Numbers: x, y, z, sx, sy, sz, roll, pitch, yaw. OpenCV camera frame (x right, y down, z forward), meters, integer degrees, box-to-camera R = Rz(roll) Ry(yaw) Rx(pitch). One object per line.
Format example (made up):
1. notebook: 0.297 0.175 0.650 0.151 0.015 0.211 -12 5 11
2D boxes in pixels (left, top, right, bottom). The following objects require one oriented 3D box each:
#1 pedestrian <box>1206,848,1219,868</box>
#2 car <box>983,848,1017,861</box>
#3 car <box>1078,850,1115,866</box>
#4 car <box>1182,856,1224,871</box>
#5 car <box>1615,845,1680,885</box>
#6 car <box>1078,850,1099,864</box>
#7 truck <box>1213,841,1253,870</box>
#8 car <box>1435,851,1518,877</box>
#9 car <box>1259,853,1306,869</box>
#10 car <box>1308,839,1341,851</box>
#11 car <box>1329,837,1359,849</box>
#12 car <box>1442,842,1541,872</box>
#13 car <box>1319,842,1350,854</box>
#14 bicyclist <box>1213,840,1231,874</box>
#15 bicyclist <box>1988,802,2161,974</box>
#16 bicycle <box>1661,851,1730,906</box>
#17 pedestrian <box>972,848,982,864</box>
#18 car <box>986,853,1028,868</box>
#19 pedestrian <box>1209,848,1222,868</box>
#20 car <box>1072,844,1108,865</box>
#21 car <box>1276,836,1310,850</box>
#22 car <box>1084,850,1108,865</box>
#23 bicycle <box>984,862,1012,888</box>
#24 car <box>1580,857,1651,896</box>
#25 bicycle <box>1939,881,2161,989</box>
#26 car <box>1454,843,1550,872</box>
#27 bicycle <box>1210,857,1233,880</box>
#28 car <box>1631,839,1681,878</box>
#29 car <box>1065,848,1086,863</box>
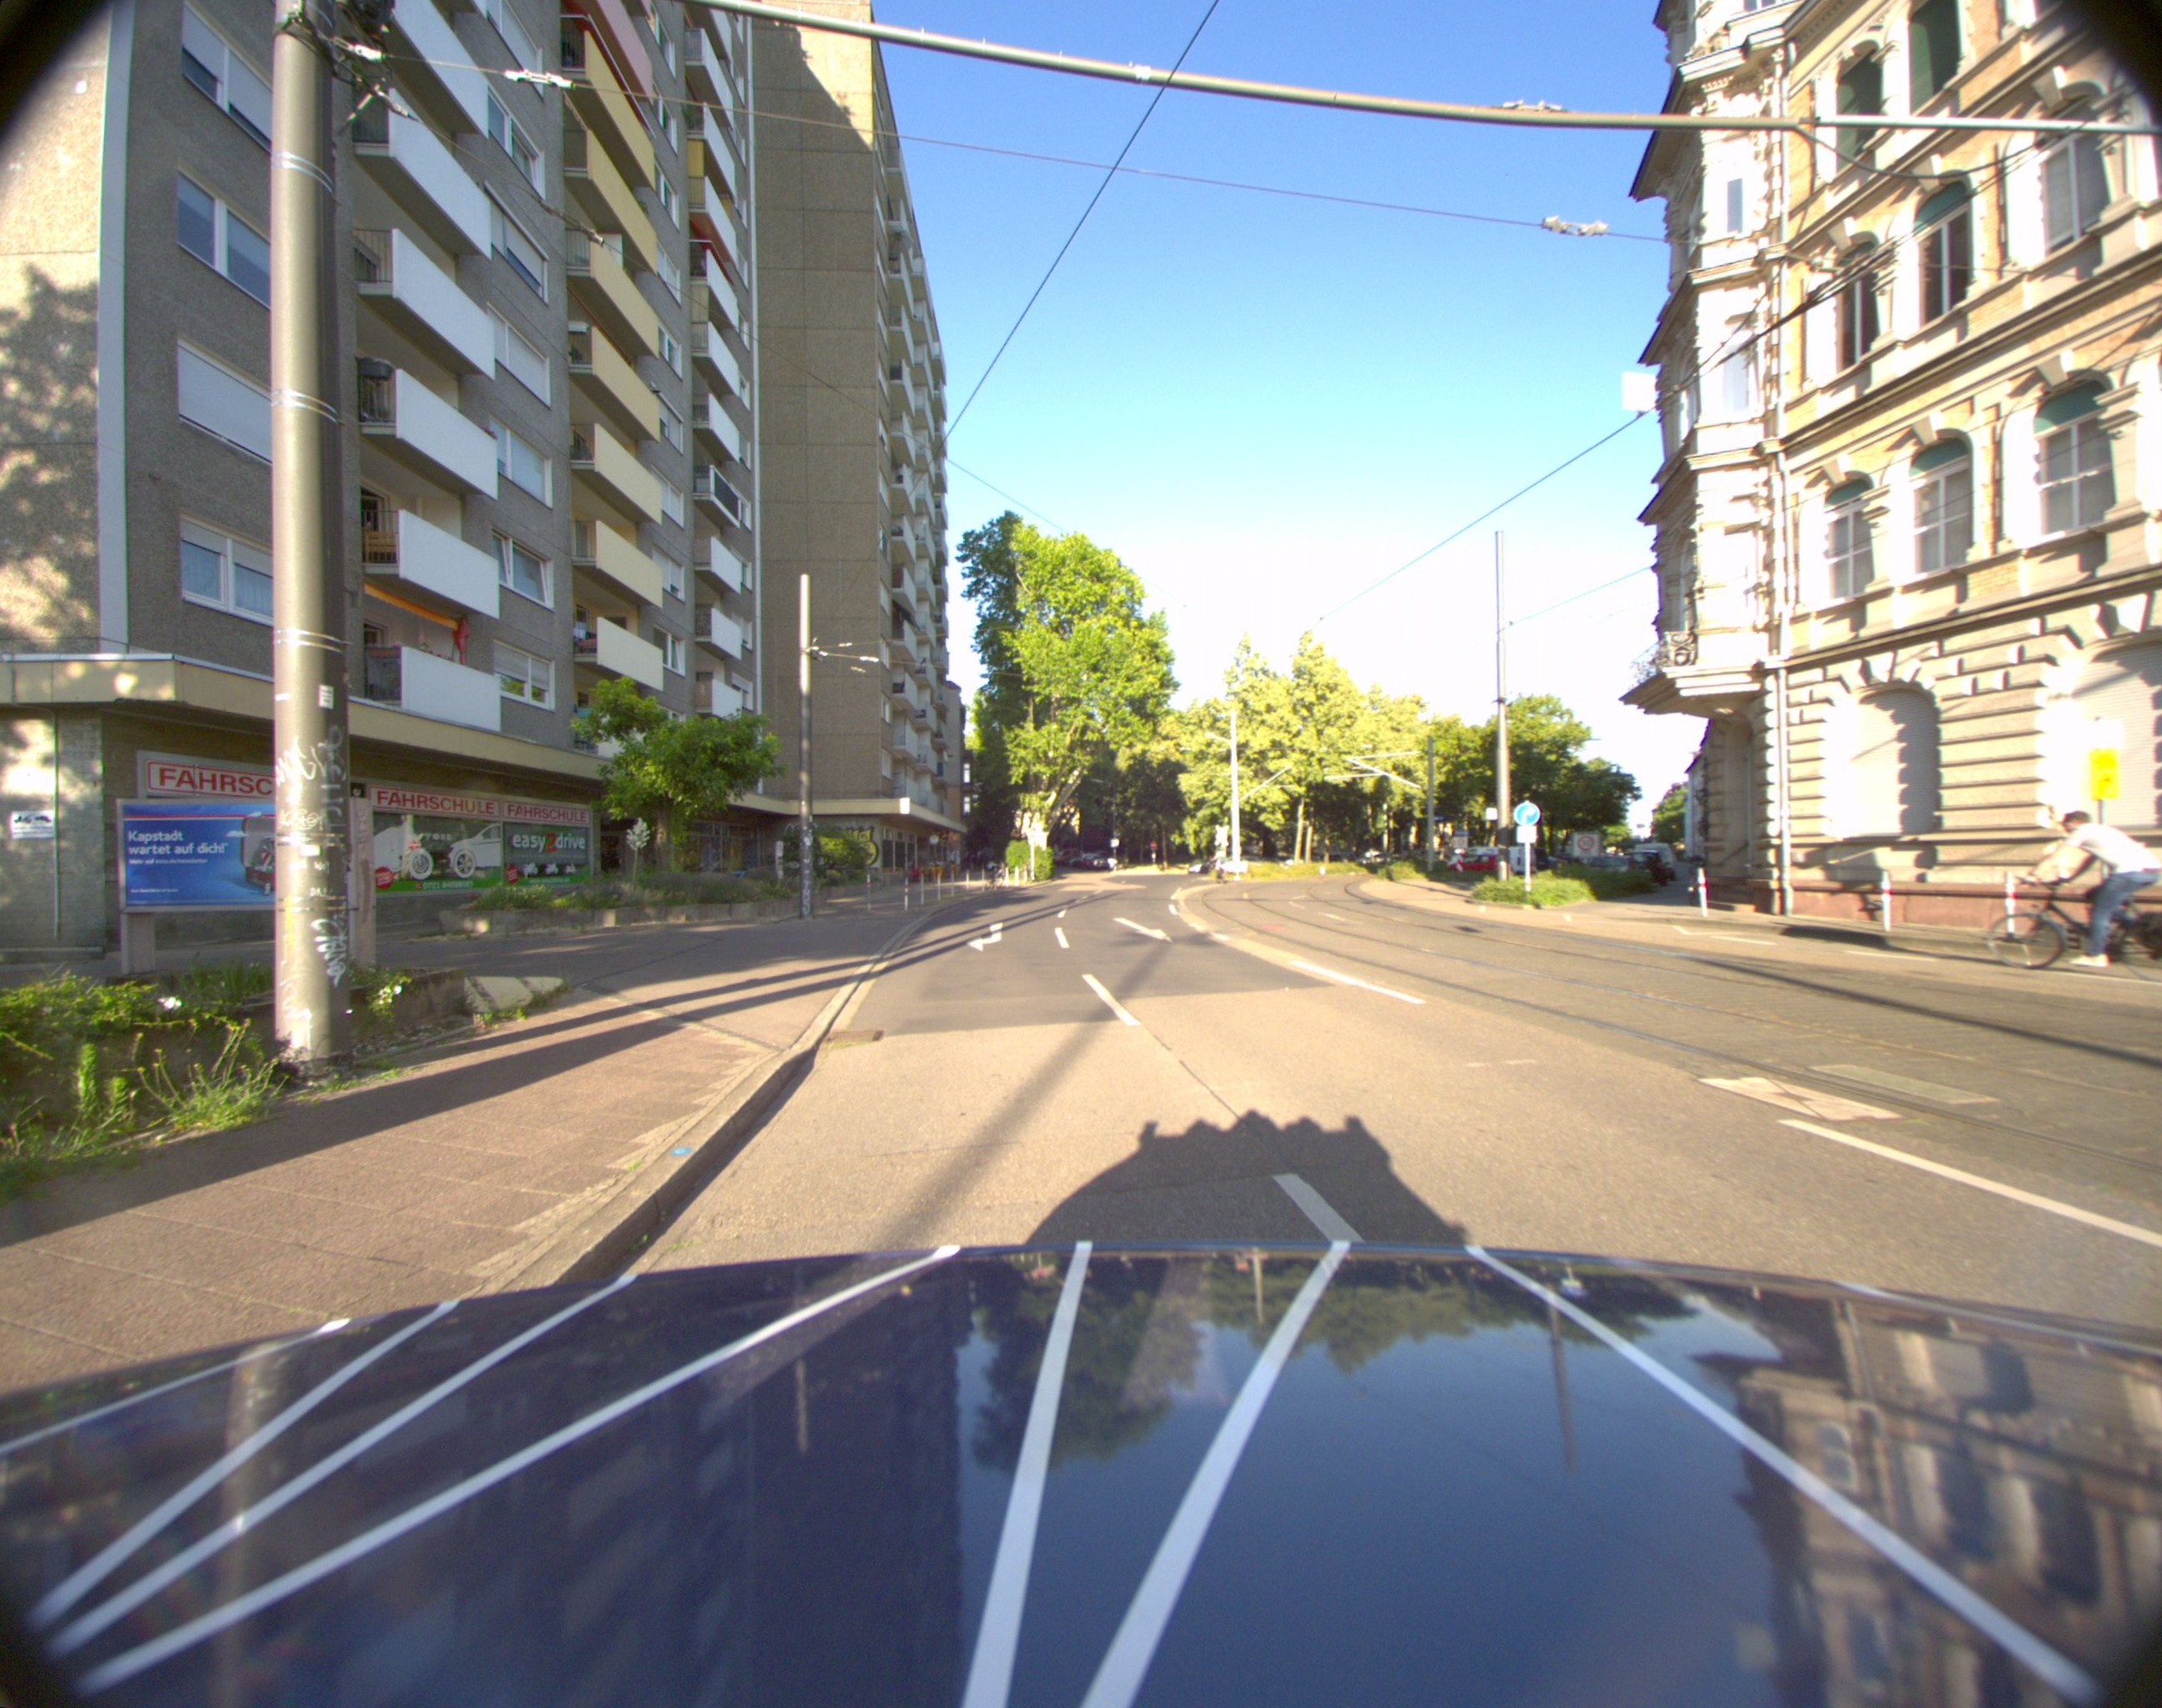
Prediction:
1. pedestrian: 11.926 0.378 68.960 0.889 1.758 0.828 -1 1 -20
2. car: -9.976 0.085 93.301 4.001 1.499 1.884 0 0 -12
3. car: 1.798 0.414 87.075 3.928 1.751 1.533 -1 0 -13
4. car: 11.500 0.882 71.514 1.945 1.390 4.008 0 0 43
5. car: 24.742 0.430 33.129 1.733 1.652 4.008 0 0 45
6. car: 0.816 0.340 82.059 1.535 1.440 3.923 -1 0 -10
7. truck: 15.159 0.142 75.659 1.994 2.767 4.894 0 0 36
8. car: 23.467 0.567 45.237 1.872 1.499 3.990 -1 0 -33
9. car: 17.478 0.564 65.991 1.744 1.346 3.678 -1 0 -38
10. car: 35.625 -1.289 111.373 2.004 1.696 4.346 -1 0 -34
11. car: 39.867 -1.591 115.350 1.888 1.739 3.989 -1 0 -35
12. car: 25.197 0.180 46.833 2.003 1.777 5.046 -1 0 -33
13. car: 37.737 -0.948 113.120 1.888 1.739 3.989 -1 0 -35
14. bicyclist: 7.231 0.146 38.924 0.607 1.752 1.060 -1 1 -6
15. bicyclist: 11.522 0.368 8.723 0.730 1.829 1.212 0 0 -7
16. bicycle: 14.966 0.564 18.469 2.693 1.258 0.643 -1 0 -37
17. pedestrian: -12.797 0.243 93.485 1.213 2.002 1.205 -1 0 -11
18. car: -7.488 0.663 76.604 4.001 1.499 1.884 0 0 -12
19. pedestrian: 12.038 0.389 68.120 0.889 1.758 0.828 -1 1 -20
20. car: 1.025 0.091 89.435 3.928 2.392 1.533 -1 0 -13
21. car: 28.901 -1.489 103.895 2.003 1.739 4.433 -1 0 -27
22. car: 1.518 0.346 76.471 1.741 1.440 3.628 -1 0 -10
23. bicycle: -3.811 0.934 34.946 0.609 1.128 2.282 0 0 11
24. car: 21.151 0.842 30.015 1.733 1.406 3.441 0 0 45
25. bicycle: 11.521 0.871 8.767 0.728 1.077 2.115 0 -1 -6
26. car: 27.081 0.204 49.069 2.003 1.798 5.046 -1 0 -33
27. bicycle: 7.219 0.736 39.085 0.611 1.168 1.951 -1 0 -6
28. car: 31.519 0.210 41.595 1.994 2.002 4.645 0 0 40
29. car: -0.713 0.192 95.766 1.772 1.846 4.223 -1 0 -13
